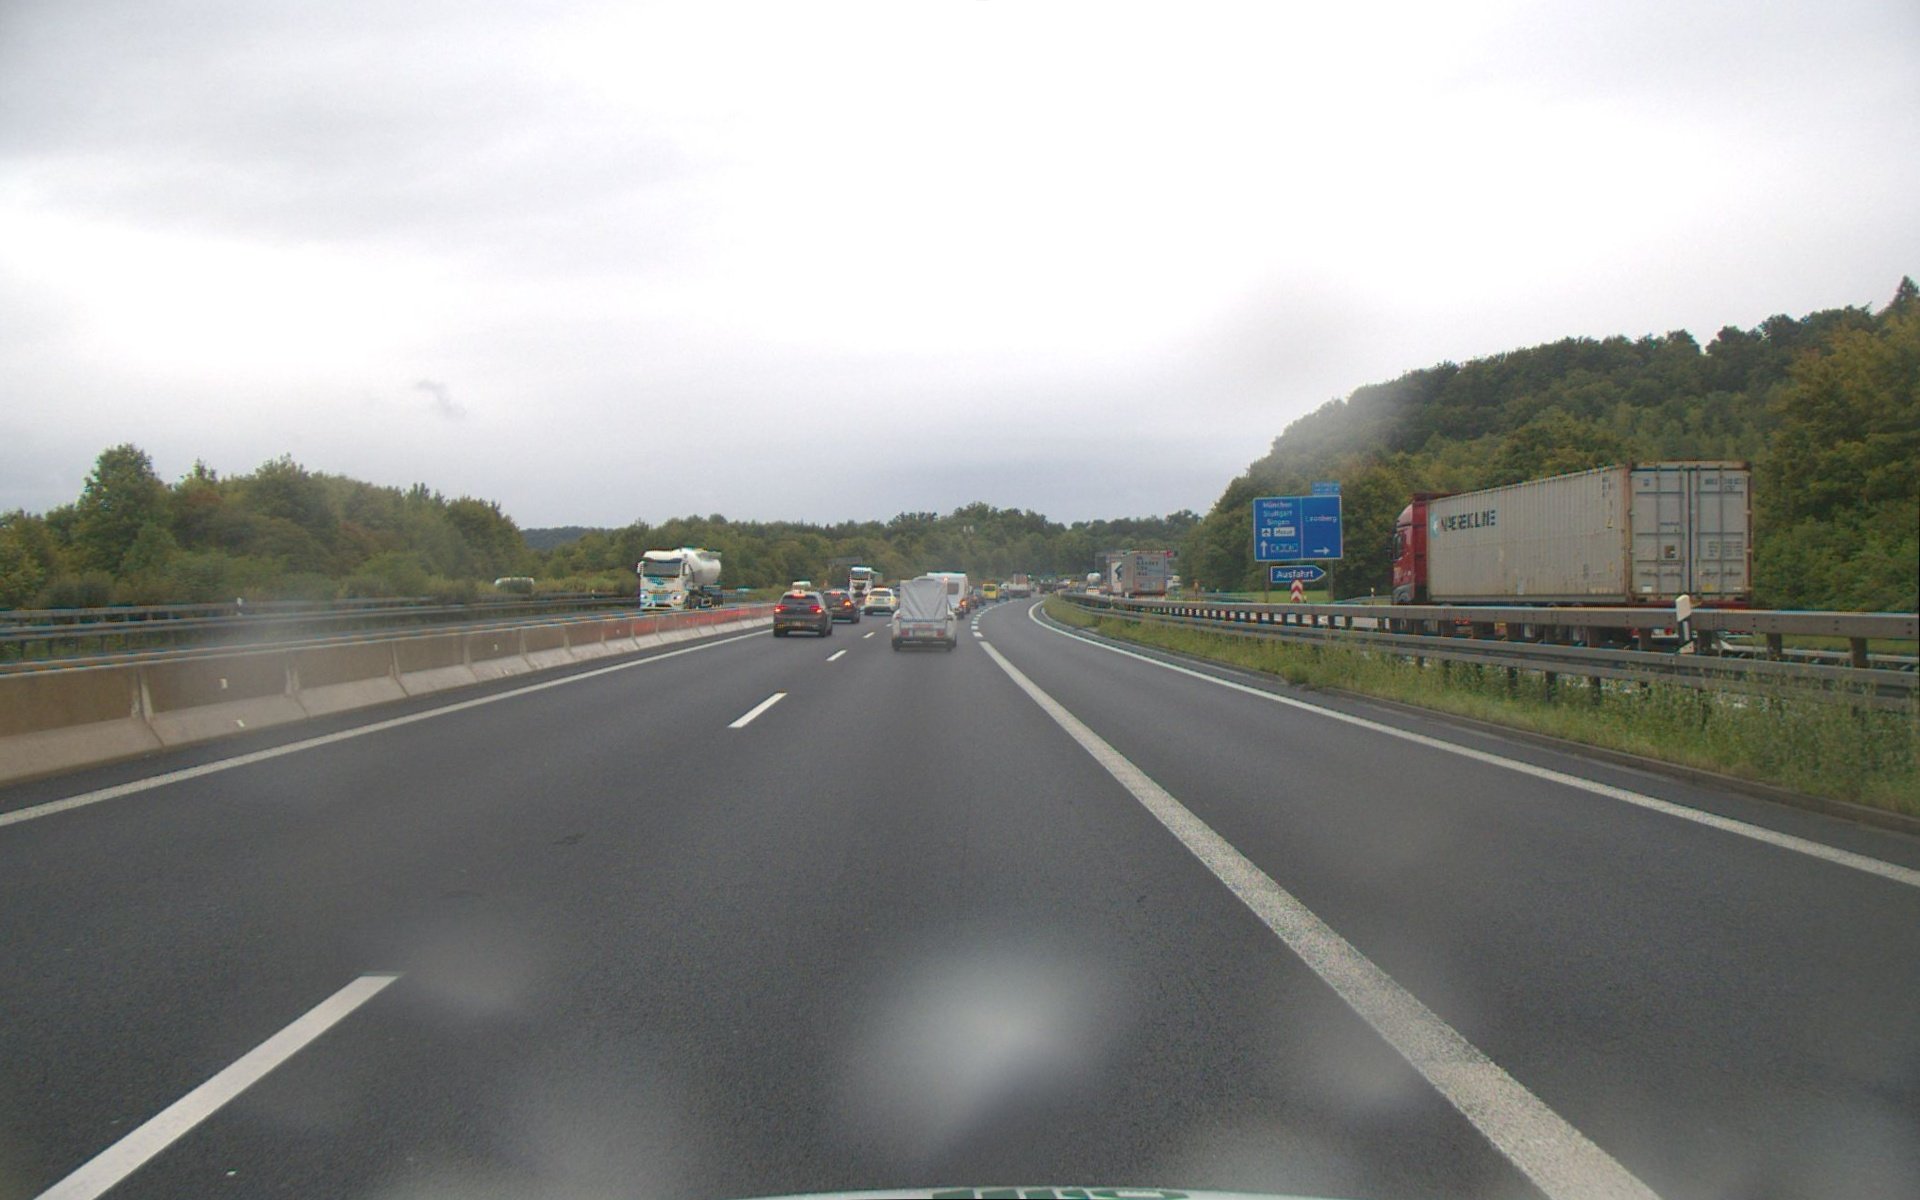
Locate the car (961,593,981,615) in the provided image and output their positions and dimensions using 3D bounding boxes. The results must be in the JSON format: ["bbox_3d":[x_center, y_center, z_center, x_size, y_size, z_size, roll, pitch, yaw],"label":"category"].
[{"bbox_3d":[0.922,0.368,140.233,1.641,1.844,4.000,0,0,1],"label":"car"}]

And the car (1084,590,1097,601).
[{"bbox_3d":[17.602,-0.593,223.614,1.640,1.481,4.002,0,0,3],"label":"car"}]

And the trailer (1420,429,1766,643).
[{"bbox_3d":[13.542,-1.189,37.066,2.552,3.962,12.484,0,0,-2],"label":"trailer"}]

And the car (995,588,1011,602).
[{"bbox_3d":[5.323,-0.586,204.359,1.995,1.712,4.001,0,0,1],"label":"car"}]

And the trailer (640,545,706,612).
[{"bbox_3d":[-16.744,-1.218,96.785,2.582,3.780,6.492,0,0,1],"label":"trailer"}]

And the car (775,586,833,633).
[{"bbox_3d":[-5.168,0.309,55.118,1.642,1.481,3.999,0,0,-1],"label":"car"}]

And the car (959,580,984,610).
[{"bbox_3d":[0.796,-0.334,116.019,1.641,2.103,3.999,0,0,-1],"label":"car"}]

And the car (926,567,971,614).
[{"bbox_3d":[-0.645,-0.513,96.100,2.456,2.630,5.700,0,0,1],"label":"car"}]

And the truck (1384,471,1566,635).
[{"bbox_3d":[13.291,-1.132,43.245,2.563,3.952,6.389,0,0,-2],"label":"truck"}]

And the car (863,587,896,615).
[{"bbox_3d":[-4.918,0.053,101.178,1.739,1.669,4.043,0,0,1],"label":"car"}]

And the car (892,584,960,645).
[{"bbox_3d":[-0.919,0.394,47.600,1.781,1.644,4.778,0,0,1],"label":"car"}]

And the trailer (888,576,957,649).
[{"bbox_3d":[-0.952,0.314,44.054,1.641,1.844,4.001,0,0,1],"label":"trailer"}]

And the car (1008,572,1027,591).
[{"bbox_3d":[8.147,-2.533,233.940,2.463,2.620,5.314,0,0,3],"label":"car"}]

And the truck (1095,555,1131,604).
[{"bbox_3d":[15.310,-2.000,166.196,3.148,4.748,13.038,0,0,4],"label":"truck"}]

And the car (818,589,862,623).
[{"bbox_3d":[-5.494,0.273,76.111,1.729,1.481,4.000,0,0,0],"label":"car"}]

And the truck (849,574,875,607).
[{"bbox_3d":[-11.590,-1.115,196.254,2.828,3.814,5.944,0,0,-1],"label":"truck"}]

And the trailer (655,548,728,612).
[{"bbox_3d":[-16.638,-1.193,103.088,2.582,3.801,10.812,0,0,1],"label":"trailer"}]

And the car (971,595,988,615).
[{"bbox_3d":[1.898,0.460,158.988,1.641,1.844,4.000,0,0,1],"label":"car"}]

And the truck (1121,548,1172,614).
[{"bbox_3d":[14.158,-1.398,126.493,3.148,4.748,13.038,0,0,3],"label":"truck"}]

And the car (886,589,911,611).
[{"bbox_3d":[-4.570,-0.002,123.191,1.740,1.669,4.042,0,0,-1],"label":"car"}]

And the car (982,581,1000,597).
[{"bbox_3d":[3.515,-1.238,186.670,1.640,1.844,4.003,0,0,7],"label":"car"}]
